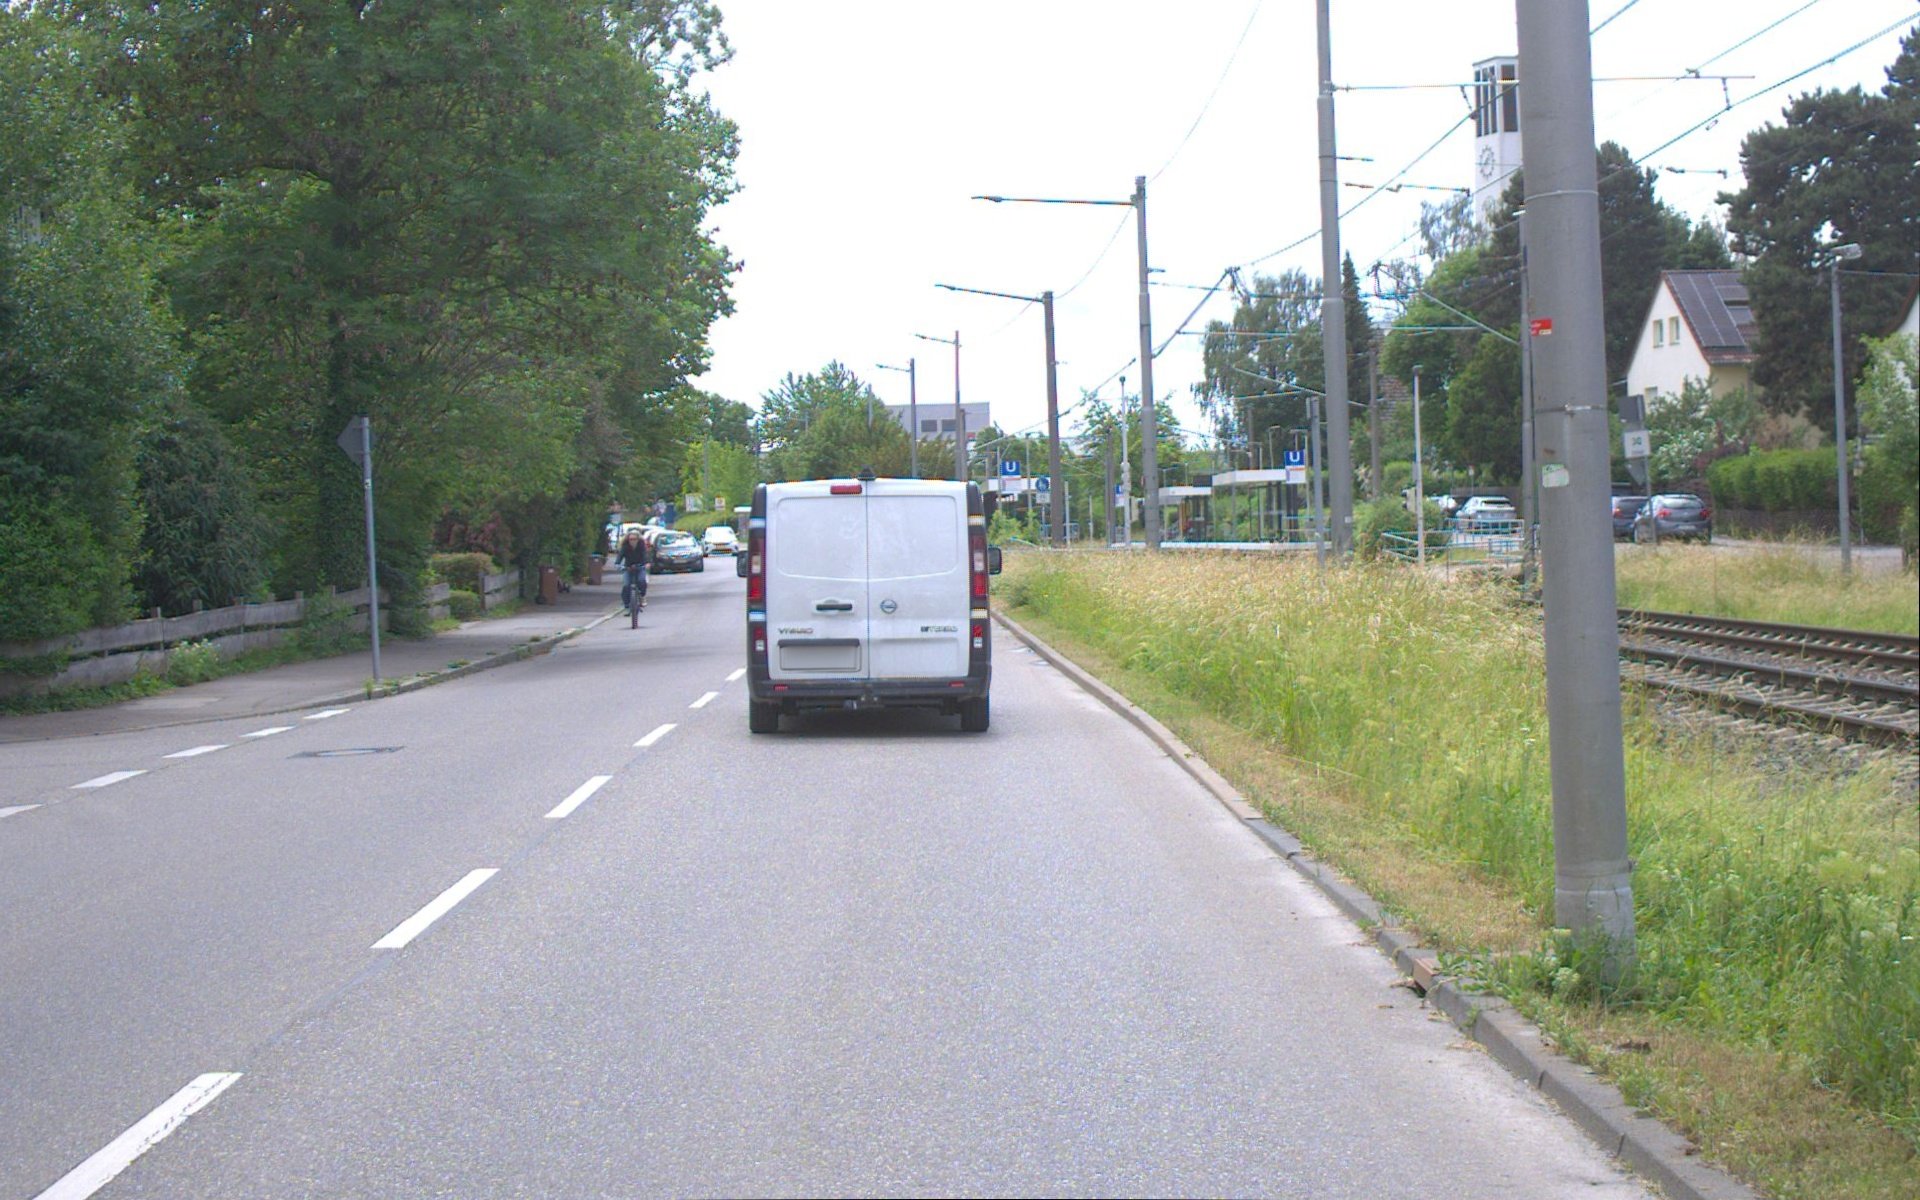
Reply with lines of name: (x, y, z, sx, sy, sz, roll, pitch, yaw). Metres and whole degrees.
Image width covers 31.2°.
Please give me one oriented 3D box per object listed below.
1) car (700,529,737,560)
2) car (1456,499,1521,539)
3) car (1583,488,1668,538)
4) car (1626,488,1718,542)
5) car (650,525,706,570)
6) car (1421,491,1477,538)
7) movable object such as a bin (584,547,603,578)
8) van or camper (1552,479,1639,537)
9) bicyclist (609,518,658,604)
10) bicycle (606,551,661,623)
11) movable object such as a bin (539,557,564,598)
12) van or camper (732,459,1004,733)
car: (-11.736, -2.712, 167.108, 1.693, 1.425, 3.787, -3, 1, -4)
car: (20.807, -3.183, 135.466, 1.883, 1.517, 4.000, -2, 1, 0)
car: (21.051, -2.758, 108.868, 1.883, 1.517, 4.000, -2, 1, 0)
car: (21.272, -2.537, 102.866, 1.883, 1.517, 4.000, -2, 1, 0)
car: (-10.266, -1.931, 124.886, 1.736, 1.499, 4.479, -3, 2, -7)
car: (20.450, -3.546, 143.913, 1.732, 1.907, 3.935, 0, 1, -1)
movable object such as a bin: (-11.247, -1.161, 105.462, 0.462, 0.927, 0.430, 2, 0, -18)
van or camper: (20.966, -3.024, 113.625, 1.905, 1.819, 5.048, -2, 1, 0)
bicyclist: (-5.947, -0.715, 62.600, 0.778, 1.544, 0.870, -2, 1, -1)
bicycle: (-5.937, -0.243, 62.632, 0.755, 1.222, 2.308, -3, 1, -1)
movable object such as a bin: (-9.293, -0.513, 78.166, 0.513, 0.941, 0.568, 0, 1, -1)
van or camper: (-0.695, -0.061, 27.544, 1.993, 2.007, 4.446, 0, 1, 0)
